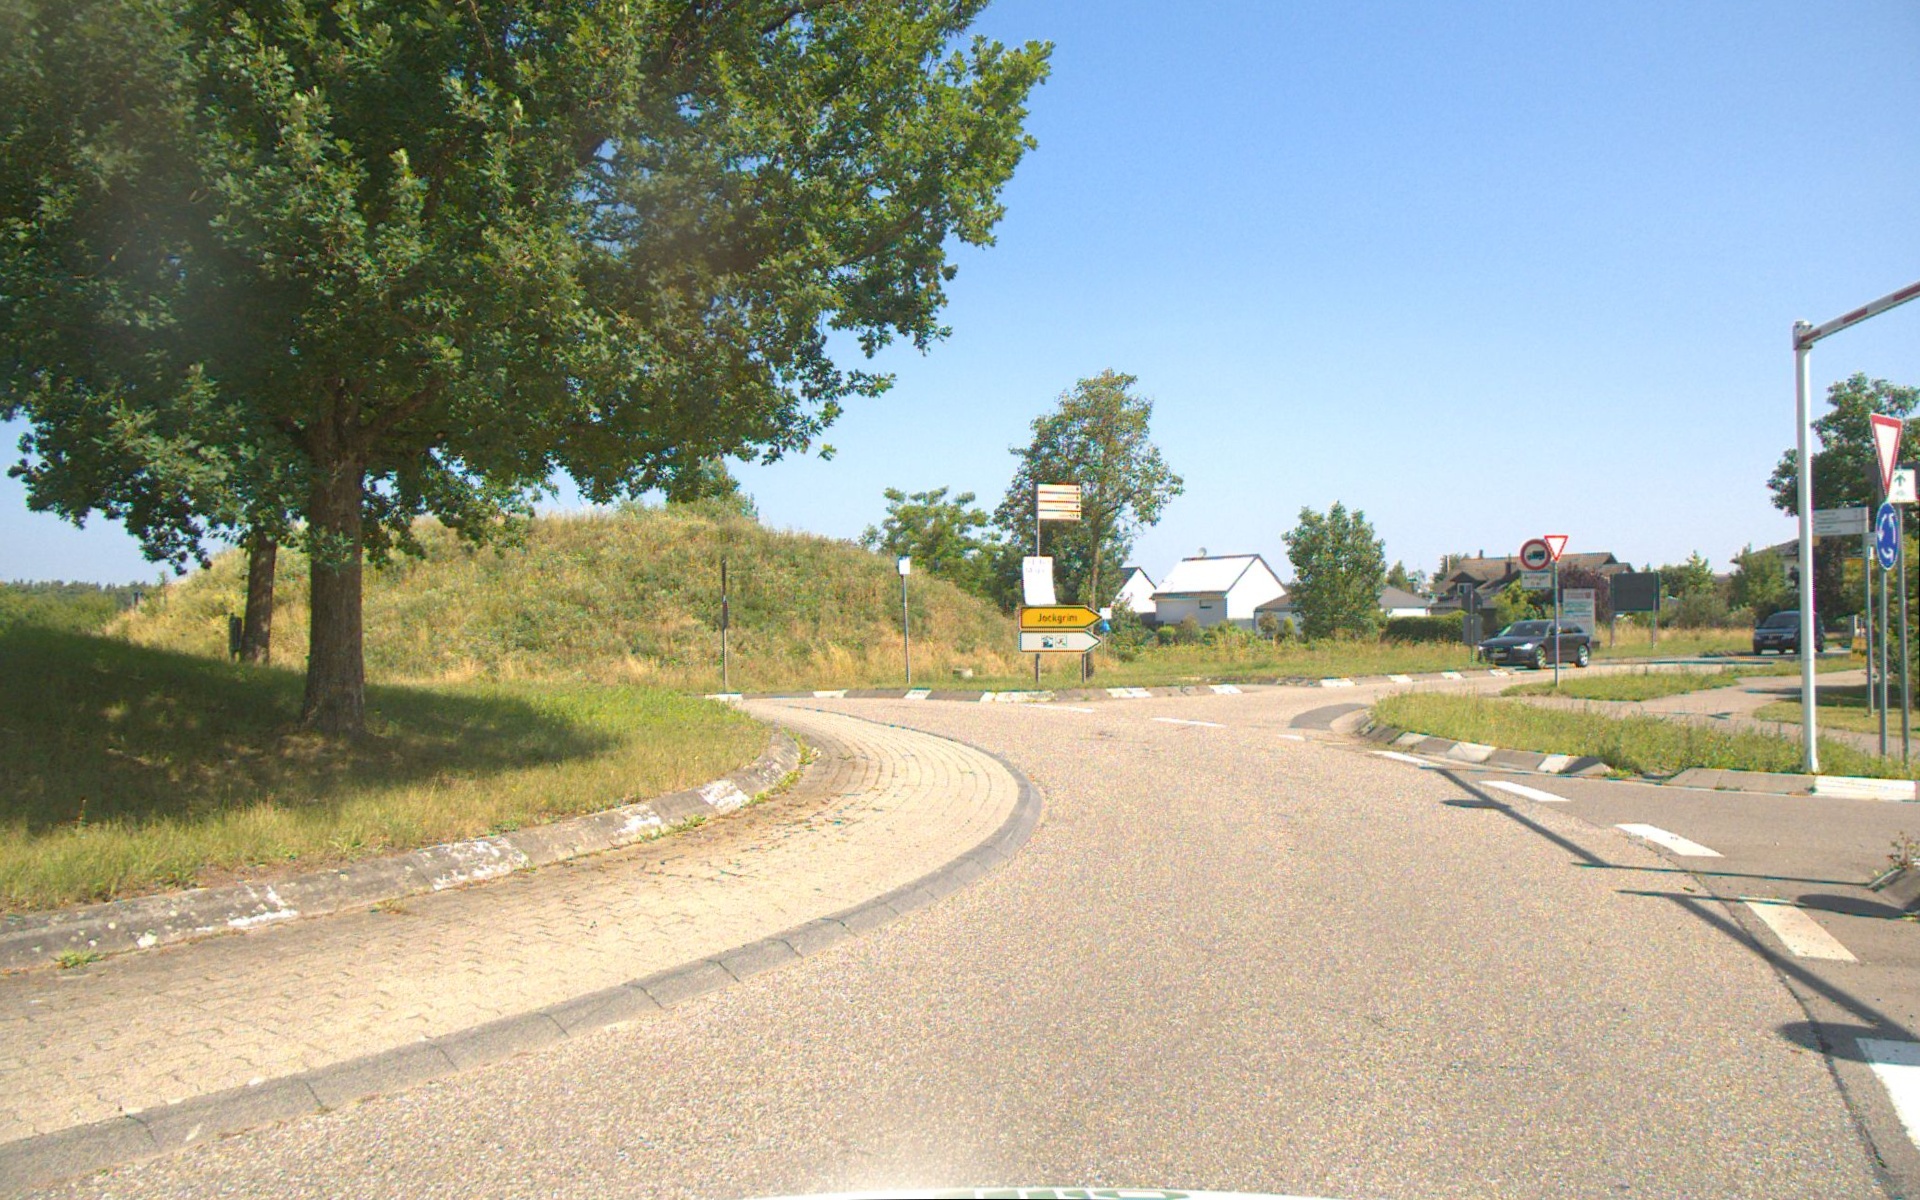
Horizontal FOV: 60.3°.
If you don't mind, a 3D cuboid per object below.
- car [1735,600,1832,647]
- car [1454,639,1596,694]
[{"bbox_3d":[32.683,0.931,65.608,4.615,1.669,1.788,1,-5,-42],"label":"car"},{"bbox_3d":[16.847,1.953,49.193,4.872,1.459,1.893,1,-4,-43],"label":"car"}]
